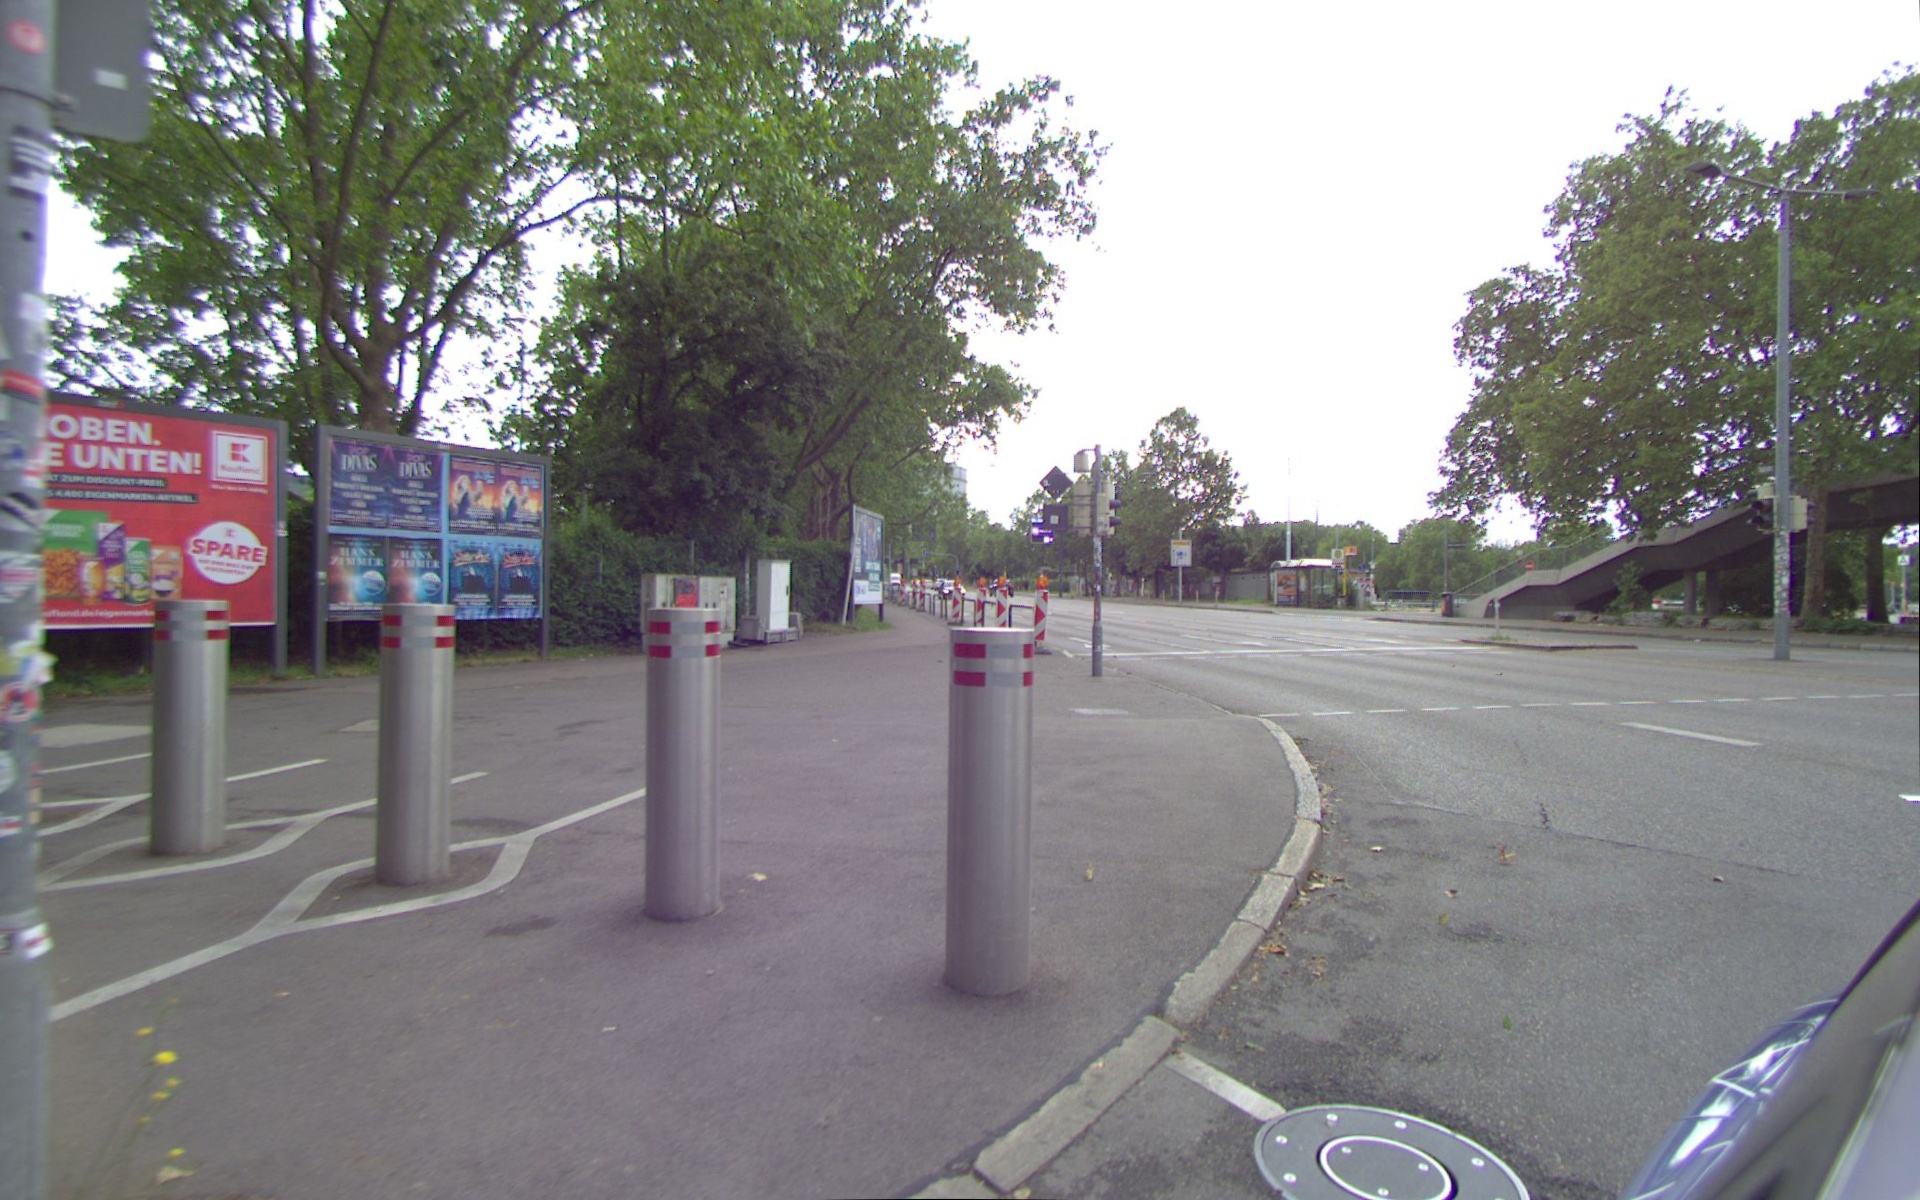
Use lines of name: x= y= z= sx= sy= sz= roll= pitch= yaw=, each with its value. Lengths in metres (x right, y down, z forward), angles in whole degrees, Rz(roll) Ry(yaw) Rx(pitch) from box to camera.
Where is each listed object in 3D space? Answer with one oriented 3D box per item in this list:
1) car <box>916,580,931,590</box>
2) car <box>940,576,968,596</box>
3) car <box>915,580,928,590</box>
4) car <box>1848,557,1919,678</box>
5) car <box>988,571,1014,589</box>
car: x=-5.886 y=-2.398 z=164.651 sx=1.959 sy=1.544 sz=4.007 roll=0 pitch=1 yaw=-9
car: x=-0.515 y=-1.143 z=81.511 sx=1.763 sy=1.529 sz=4.006 roll=0 pitch=1 yaw=-7
car: x=-6.649 y=-2.596 z=175.431 sx=1.959 sy=1.549 sz=4.391 roll=0 pitch=1 yaw=-7
car: x=12.970 y=0.218 z=11.408 sx=1.796 sy=1.469 sz=4.085 roll=-1 pitch=1 yaw=-20
car: x=3.787 y=-1.851 z=94.805 sx=1.739 sy=1.626 sz=4.434 roll=1 pitch=1 yaw=-6
